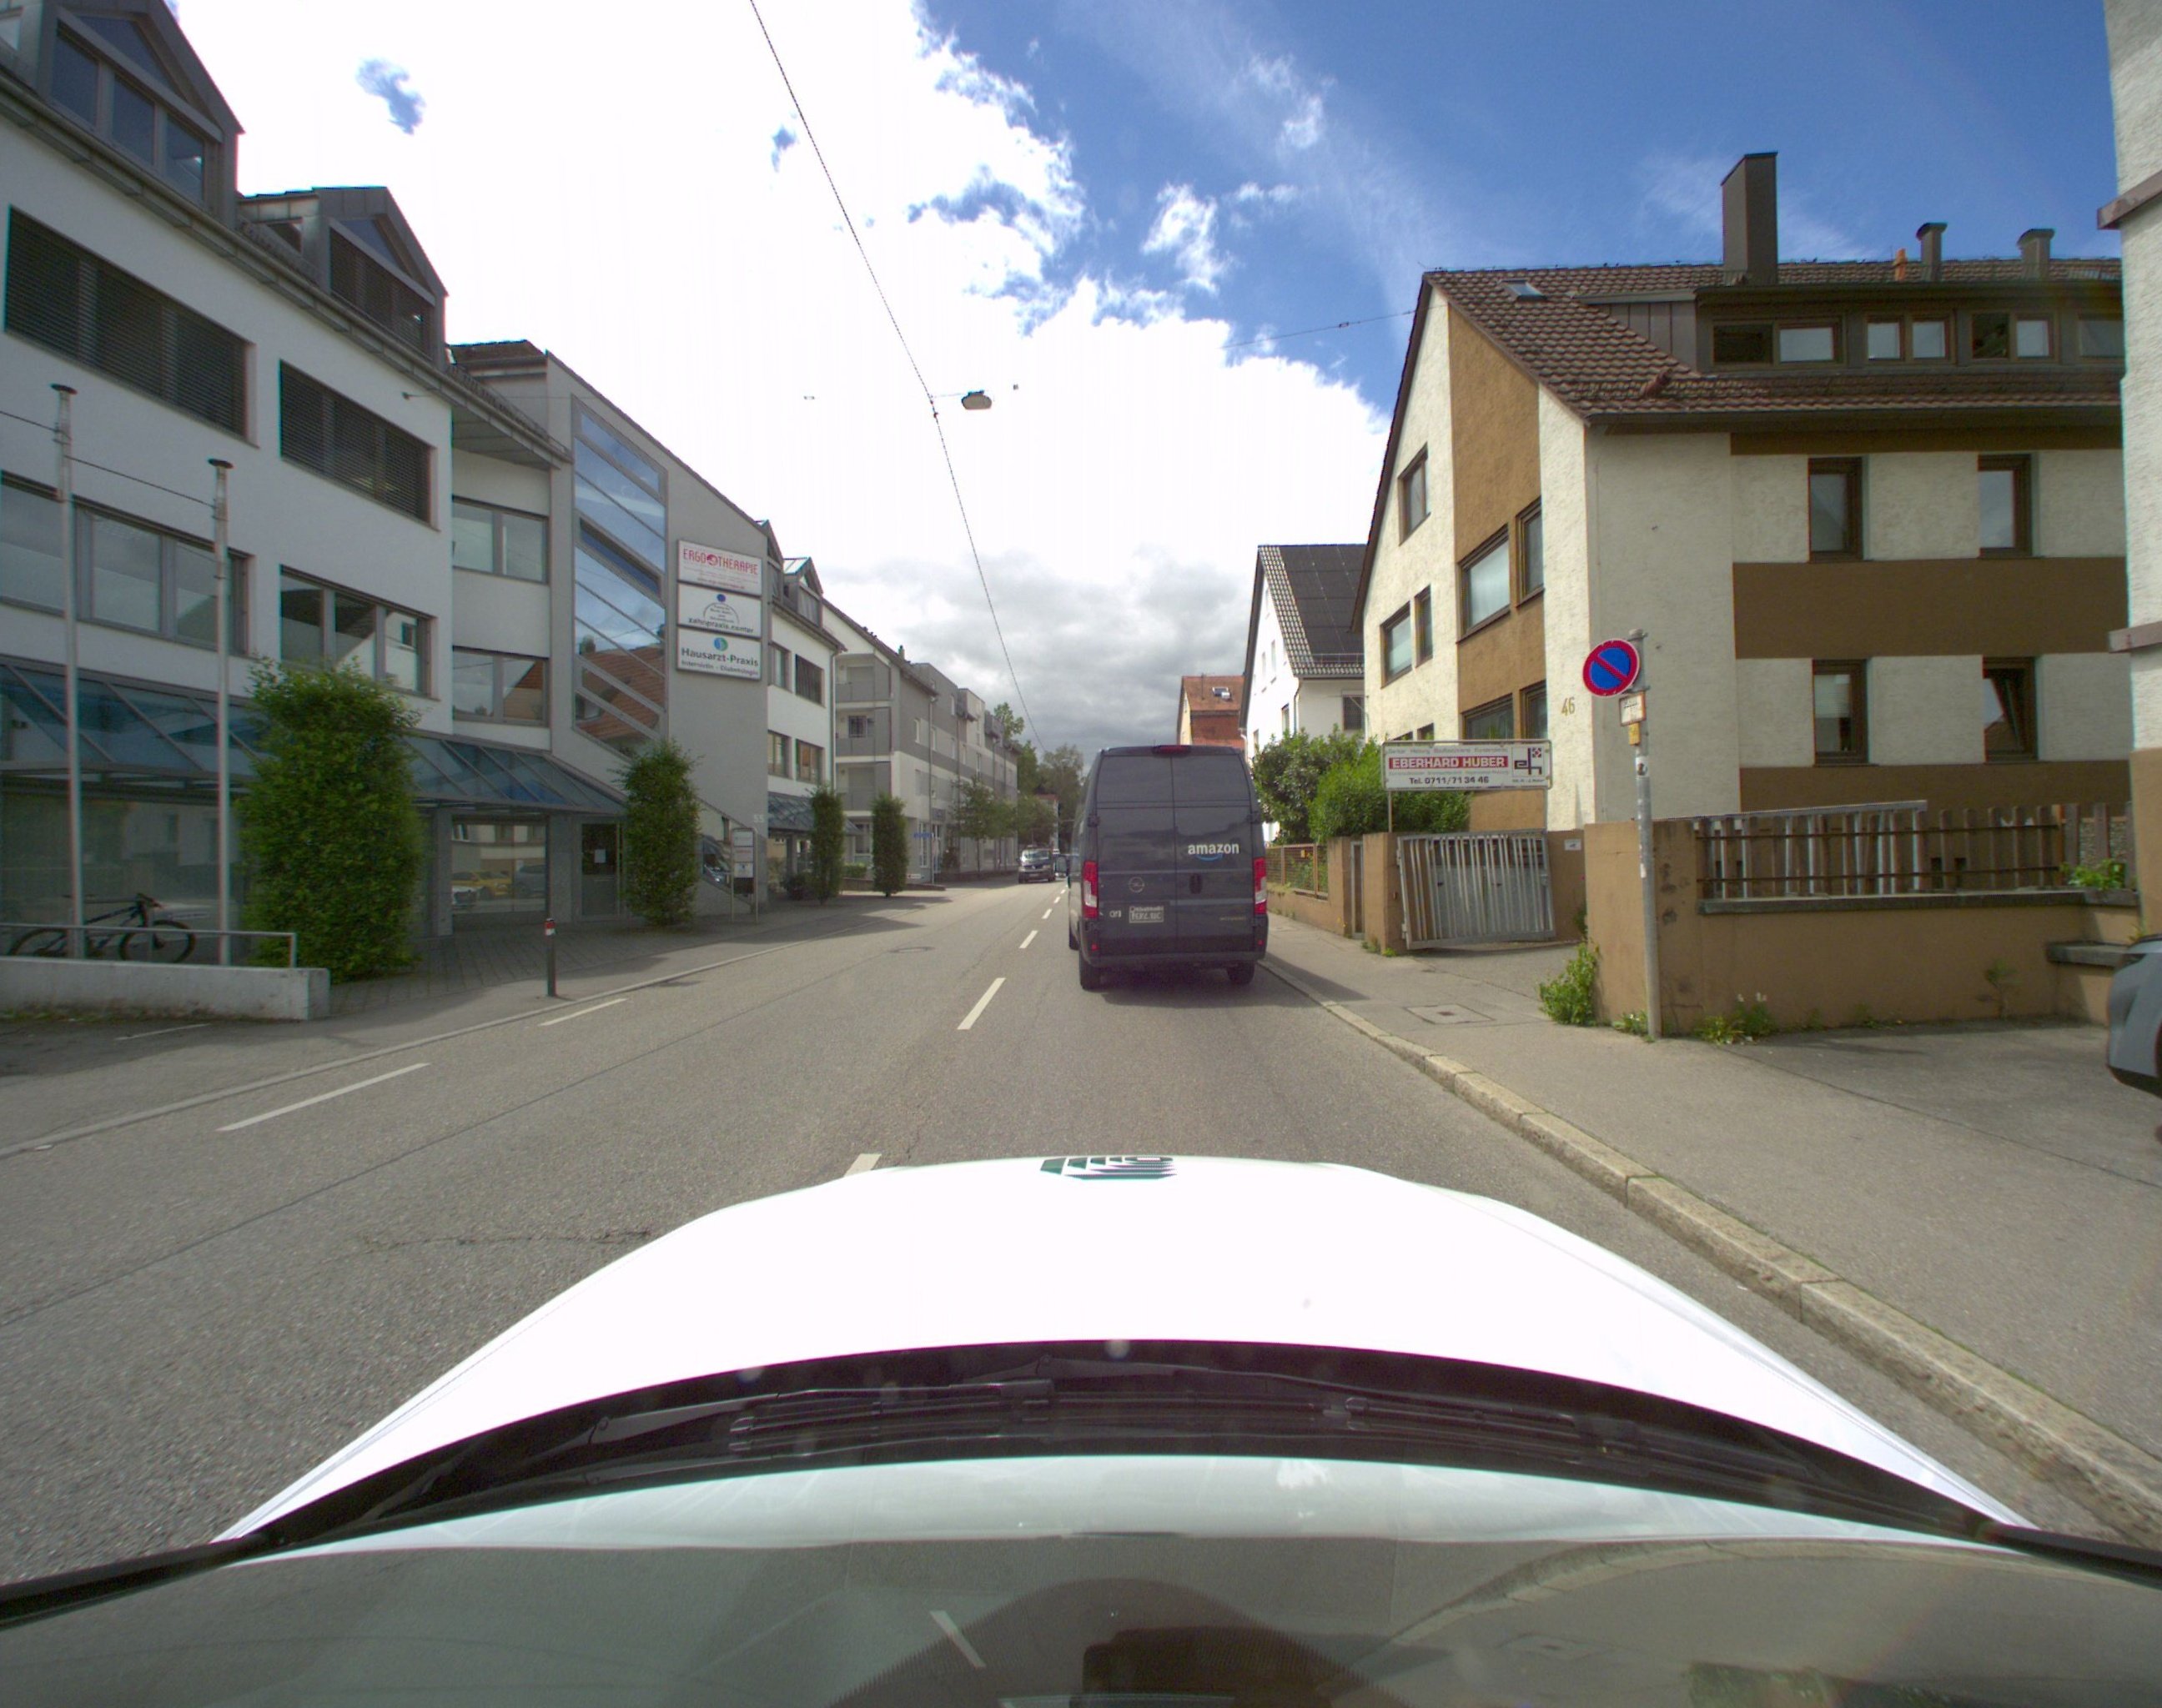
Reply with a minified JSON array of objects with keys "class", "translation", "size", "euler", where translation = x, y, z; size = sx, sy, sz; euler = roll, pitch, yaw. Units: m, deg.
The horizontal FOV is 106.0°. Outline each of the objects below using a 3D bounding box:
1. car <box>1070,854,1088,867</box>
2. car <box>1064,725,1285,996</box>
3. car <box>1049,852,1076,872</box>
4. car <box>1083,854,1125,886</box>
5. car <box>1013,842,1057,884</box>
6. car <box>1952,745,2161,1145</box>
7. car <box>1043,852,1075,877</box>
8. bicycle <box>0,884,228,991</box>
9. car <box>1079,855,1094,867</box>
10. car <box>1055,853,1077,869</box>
[{"class":"car","translation":[-0.210,0.793,100.457],"size":[2.098,1.596,4.649],"euler":[-1,0,0]},{"class":"car","translation":[0.930,0.063,11.331],"size":[2.246,2.795,5.565],"euler":[-1,0,-2]},{"class":"car","translation":[-1.485,0.649,68.270],"size":[2.098,1.596,4.649],"euler":[-1,0,0]},{"class":"car","translation":[1.177,0.733,40.091],"size":[1.888,1.453,3.972],"euler":[-1,0,3]},{"class":"car","translation":[-2.550,0.480,46.345],"size":[2.098,2.121,4.765],"euler":[-3,0,0]},{"class":"car","translation":[5.252,0.338,1.744],"size":[1.854,1.612,4.585],"euler":[-2,0,0]},{"class":"car","translation":[-1.564,0.756,58.974],"size":[2.098,1.709,4.765],"euler":[-1,0,0]},{"class":"bicycle","translation":[-11.862,0.965,9.982],"size":[0.628,1.095,2.004],"euler":[-1,0,2]},{"class":"car","translation":[0.779,1.022,120.441],"size":[2.098,1.596,4.649],"euler":[-1,0,0]},{"class":"car","translation":[-1.507,0.702,84.552],"size":[2.098,1.596,4.649],"euler":[-1,0,0]}]
